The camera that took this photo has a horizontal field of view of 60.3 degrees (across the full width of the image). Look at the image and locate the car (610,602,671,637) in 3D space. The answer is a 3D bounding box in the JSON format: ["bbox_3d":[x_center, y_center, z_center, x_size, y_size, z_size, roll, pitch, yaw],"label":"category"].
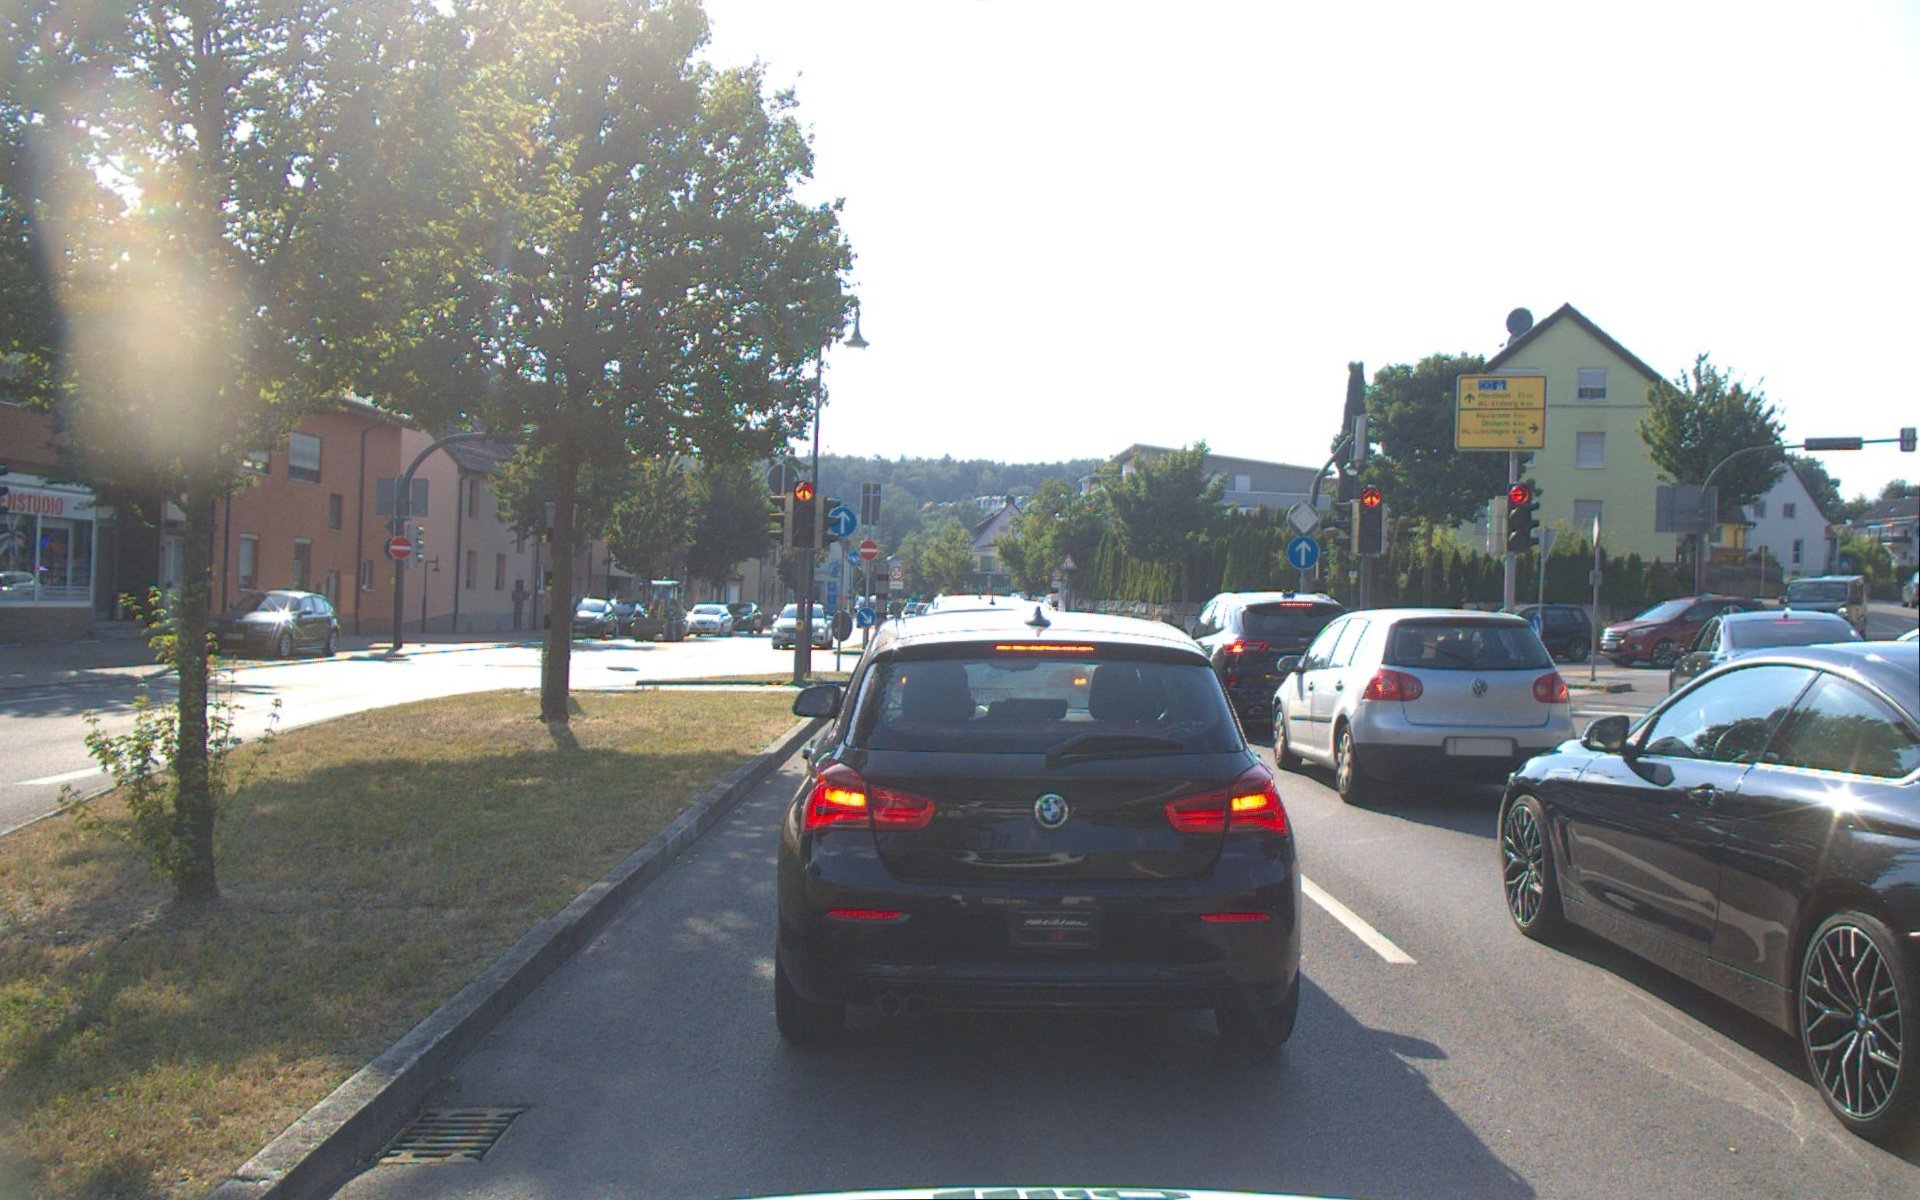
[{"bbox_3d":[-14.114,0.837,73.210,1.701,1.323,4.001,5,0,2],"label":"car"}]

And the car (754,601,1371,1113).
[{"bbox_3d":[0.289,0.734,6.862,1.751,1.422,4.280,-1,0,0],"label":"car"}]

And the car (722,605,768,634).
[{"bbox_3d":[-11.374,0.998,87.587,1.701,1.323,3.800,5,0,2],"label":"car"}]

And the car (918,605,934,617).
[{"bbox_3d":[-4.336,1.433,209.730,1.701,1.323,3.800,5,0,2],"label":"car"}]

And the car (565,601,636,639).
[{"bbox_3d":[-14.507,0.804,66.929,1.701,1.323,4.001,5,0,3],"label":"car"}]

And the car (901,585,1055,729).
[{"bbox_3d":[0.200,0.647,21.047,1.751,1.622,4.280,-1,0,0],"label":"car"}]

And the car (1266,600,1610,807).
[{"bbox_3d":[3.786,0.739,13.799,1.725,1.451,3.902,-1,0,0],"label":"car"}]

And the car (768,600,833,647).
[{"bbox_3d":[-5.312,0.757,55.453,1.801,1.508,3.999,1,0,-1],"label":"car"}]

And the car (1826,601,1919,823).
[{"bbox_3d":[7.615,0.797,11.651,1.583,1.569,3.320,-1,0,6],"label":"car"}]

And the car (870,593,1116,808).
[{"bbox_3d":[0.230,0.714,14.007,1.751,1.520,4.280,-1,0,0],"label":"car"}]

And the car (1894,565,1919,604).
[{"bbox_3d":[43.670,-0.700,74.798,1.924,1.709,4.215,0,0,21],"label":"car"}]

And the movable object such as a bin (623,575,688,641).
[{"bbox_3d":[-11.873,0.323,64.801,1.701,2.485,4.449,0,0,0],"label":"movable object such as a bin"}]

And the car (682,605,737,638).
[{"bbox_3d":[-11.595,0.957,76.718,1.701,1.323,3.800,5,0,2],"label":"car"}]

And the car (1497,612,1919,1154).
[{"bbox_3d":[3.464,0.783,5.842,1.725,1.422,4.280,-1,0,0],"label":"car"}]

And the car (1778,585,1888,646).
[{"bbox_3d":[26.745,0.473,50.582,1.816,1.770,4.754,1,0,43],"label":"car"}]

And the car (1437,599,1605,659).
[{"bbox_3d":[15.161,0.763,44.858,3.907,1.515,1.847,1,0,-3],"label":"car"}]

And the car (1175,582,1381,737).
[{"bbox_3d":[3.739,0.647,20.081,1.725,1.685,3.902,-1,0,0],"label":"car"}]

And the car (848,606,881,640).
[{"bbox_3d":[-7.038,1.654,122.375,2.041,2.435,5.528,1,0,1],"label":"car"}]

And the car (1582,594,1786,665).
[{"bbox_3d":[18.018,0.719,41.242,4.333,1.670,1.845,1,0,-8],"label":"car"}]

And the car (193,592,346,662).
[{"bbox_3d":[-15.479,0.572,37.315,1.702,1.323,3.999,5,0,-1],"label":"car"}]

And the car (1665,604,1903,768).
[{"bbox_3d":[9.039,0.851,18.484,1.621,1.569,4.401,-1,0,17],"label":"car"}]
